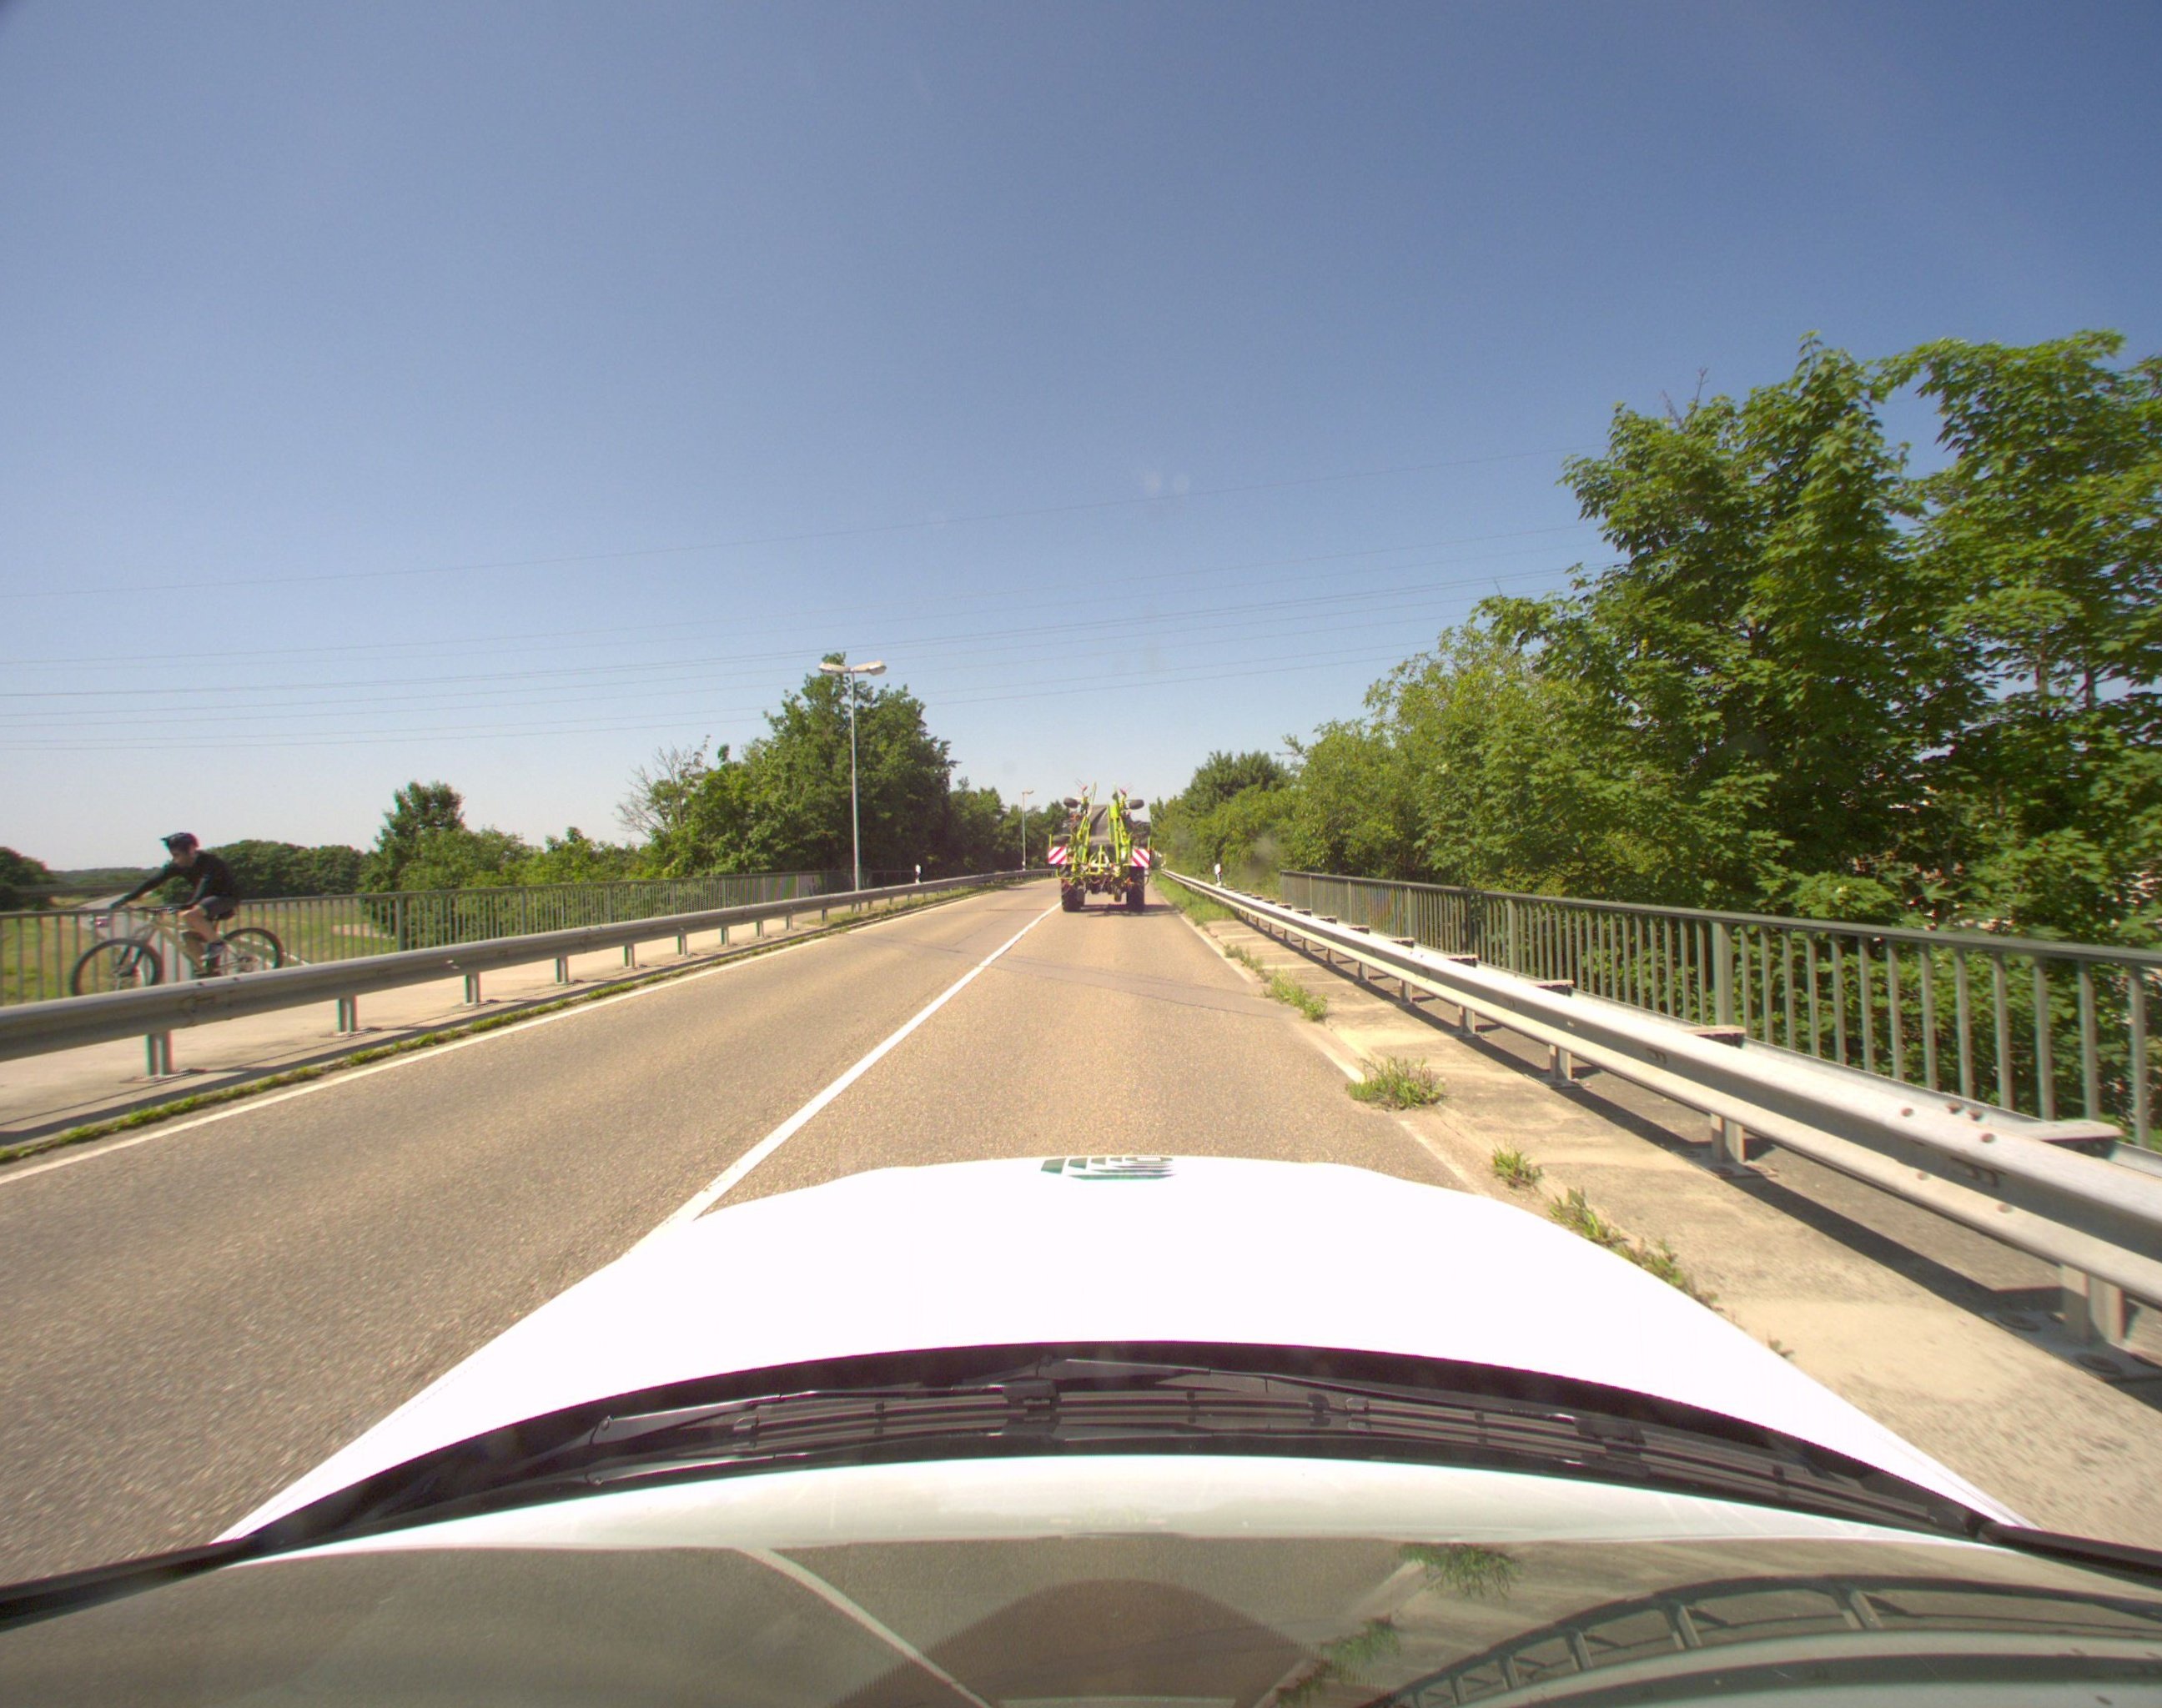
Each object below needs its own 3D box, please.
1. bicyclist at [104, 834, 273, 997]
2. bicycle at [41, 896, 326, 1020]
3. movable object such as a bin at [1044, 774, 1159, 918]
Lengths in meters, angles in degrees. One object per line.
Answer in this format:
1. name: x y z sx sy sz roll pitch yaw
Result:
1. bicyclist: -9.483 0.619 8.694 0.763 1.633 0.895 -1 0 -1
2. bicycle: -9.473 1.037 8.762 0.675 1.001 2.118 -2 1 0
3. movable object such as a bin: 0.650 -0.209 22.559 2.743 3.444 5.675 -1 0 3
